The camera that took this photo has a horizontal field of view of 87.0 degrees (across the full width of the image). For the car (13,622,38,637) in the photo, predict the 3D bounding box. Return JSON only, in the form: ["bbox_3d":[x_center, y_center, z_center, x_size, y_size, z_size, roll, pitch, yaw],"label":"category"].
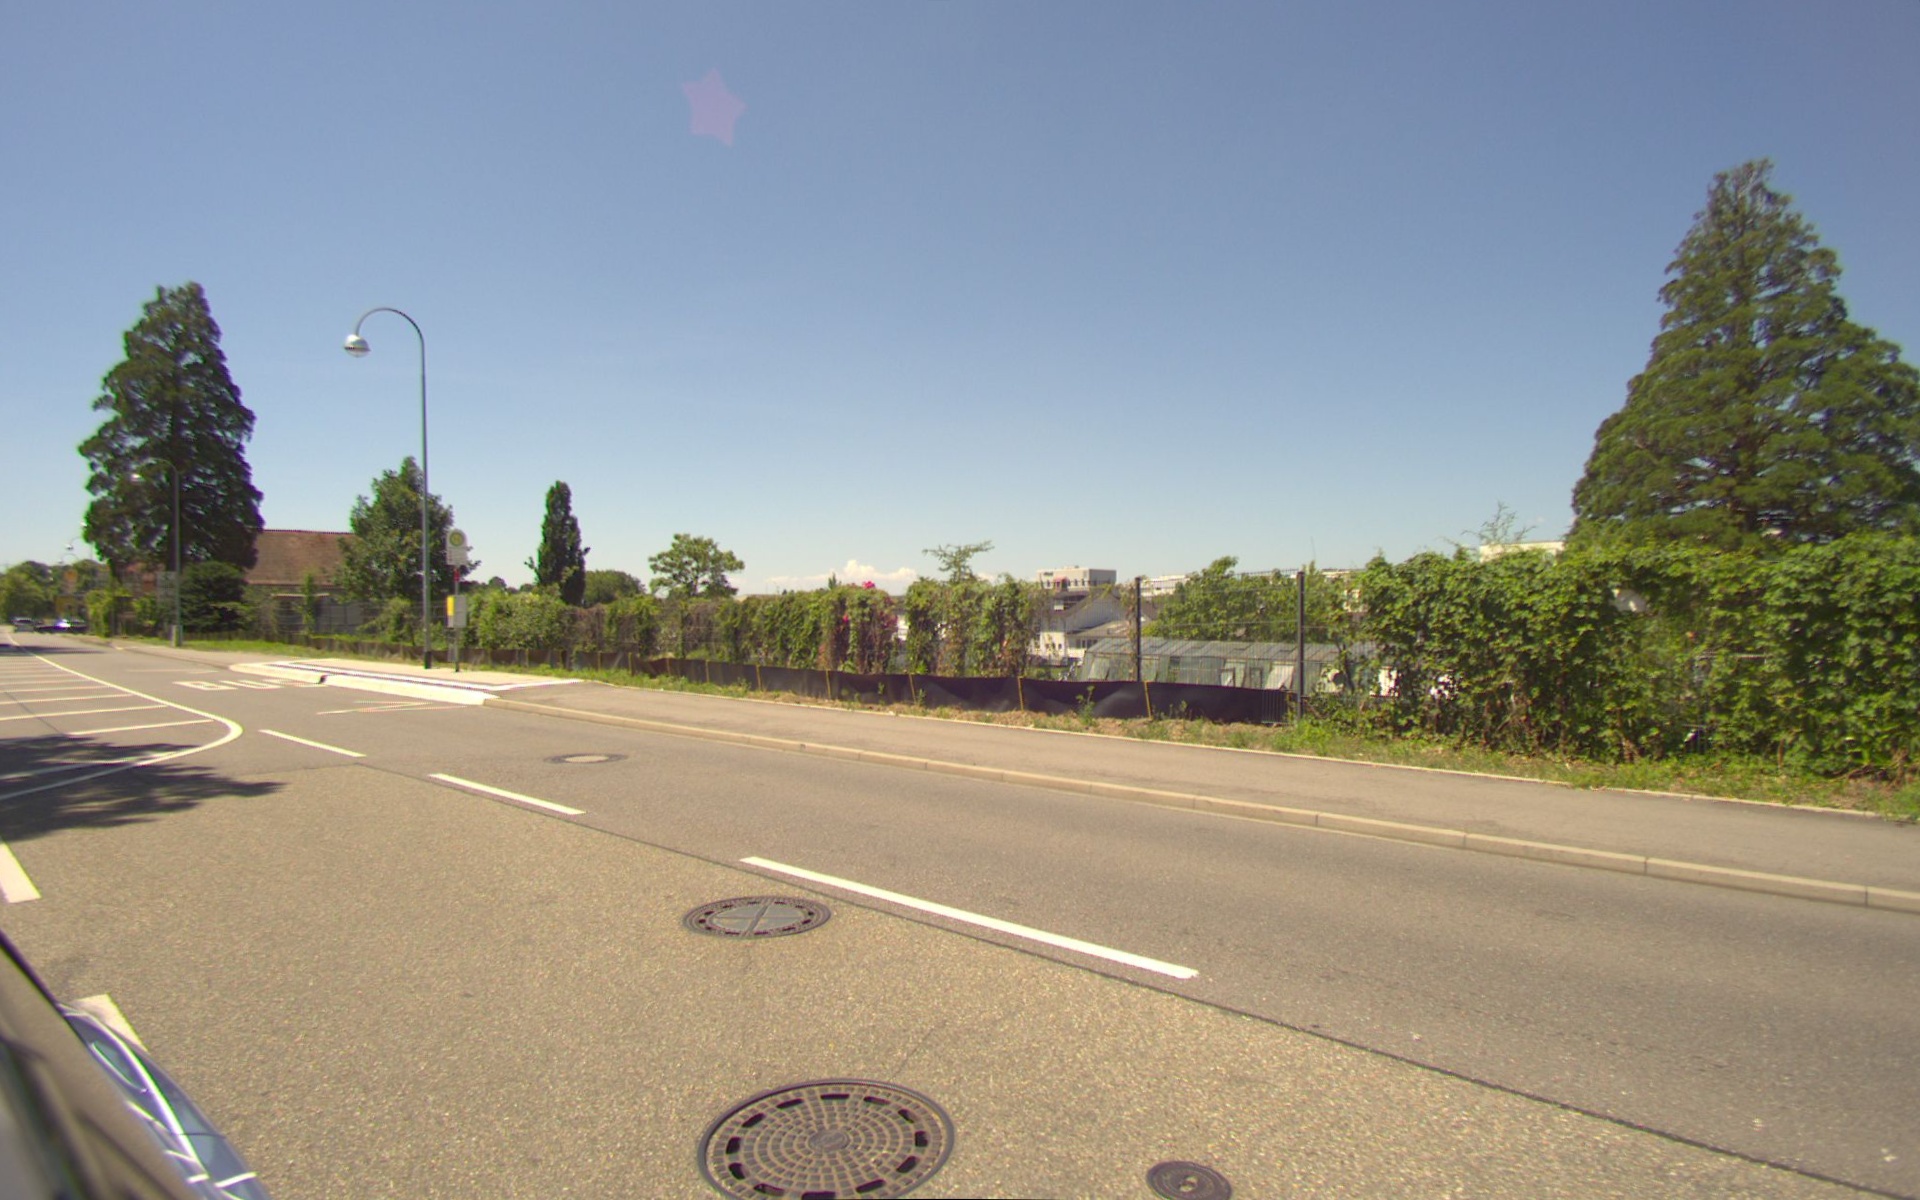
[{"bbox_3d":[-106.799,3.355,115.632,4.690,1.657,1.763,-1,-4,44],"label":"car"}]
